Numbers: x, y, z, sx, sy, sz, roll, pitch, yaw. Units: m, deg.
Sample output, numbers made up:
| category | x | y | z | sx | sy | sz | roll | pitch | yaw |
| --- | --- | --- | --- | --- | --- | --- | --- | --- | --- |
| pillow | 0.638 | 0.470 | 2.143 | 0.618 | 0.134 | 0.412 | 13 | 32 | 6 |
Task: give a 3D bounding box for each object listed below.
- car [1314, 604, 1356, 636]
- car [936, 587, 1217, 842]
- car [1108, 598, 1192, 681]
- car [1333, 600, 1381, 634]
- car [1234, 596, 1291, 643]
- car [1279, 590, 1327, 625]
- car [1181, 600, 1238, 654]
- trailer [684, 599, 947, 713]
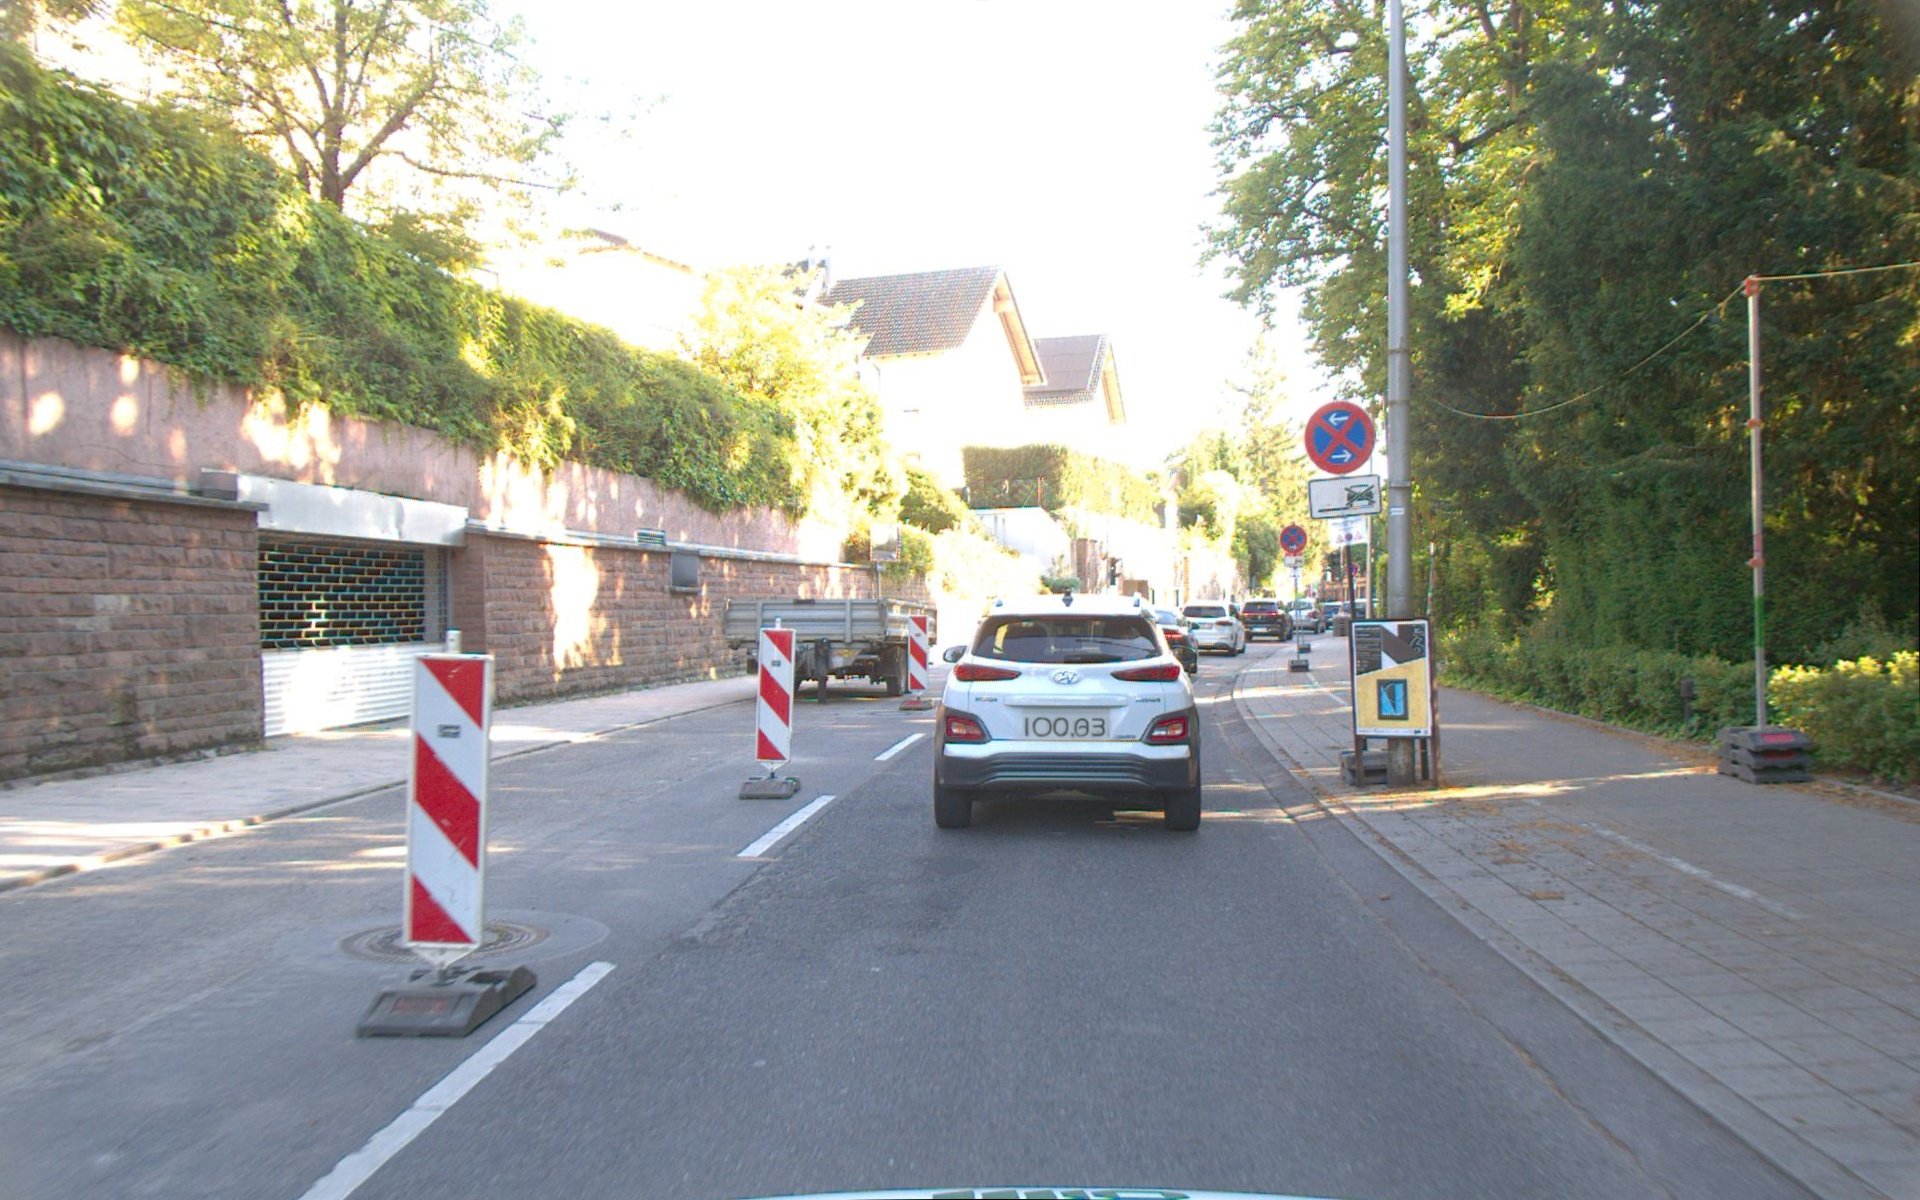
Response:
| category | x | y | z | sx | sy | sz | roll | pitch | yaw |
| --- | --- | --- | --- | --- | --- | --- | --- | --- | --- |
| car | 20.532 | 1.058 | 90.471 | 1.659 | 1.530 | 3.631 | -4 | 0 | 21 |
| car | 0.914 | 0.716 | 12.342 | 1.734 | 1.569 | 4.002 | 1 | 0 | 5 |
| car | 3.881 | 0.753 | 33.403 | 1.479 | 1.560 | 3.551 | -1 | 0 | 9 |
| car | 18.204 | 0.749 | 75.791 | 1.757 | 1.466 | 4.001 | -1 | 0 | 19 |
| car | 11.476 | 0.711 | 62.673 | 1.658 | 1.559 | 3.884 | -4 | 0 | 16 |
| car | 16.150 | 0.329 | 77.685 | 1.658 | 1.472 | 3.883 | -4 | 0 | 19 |
| car | 7.232 | 0.754 | 47.731 | 1.537 | 1.503 | 3.551 | 0 | 0 | 10 |
| trailer | -1.998 | 0.774 | 25.957 | 2.583 | 1.515 | 7.124 | 0 | 0 | 8 |
